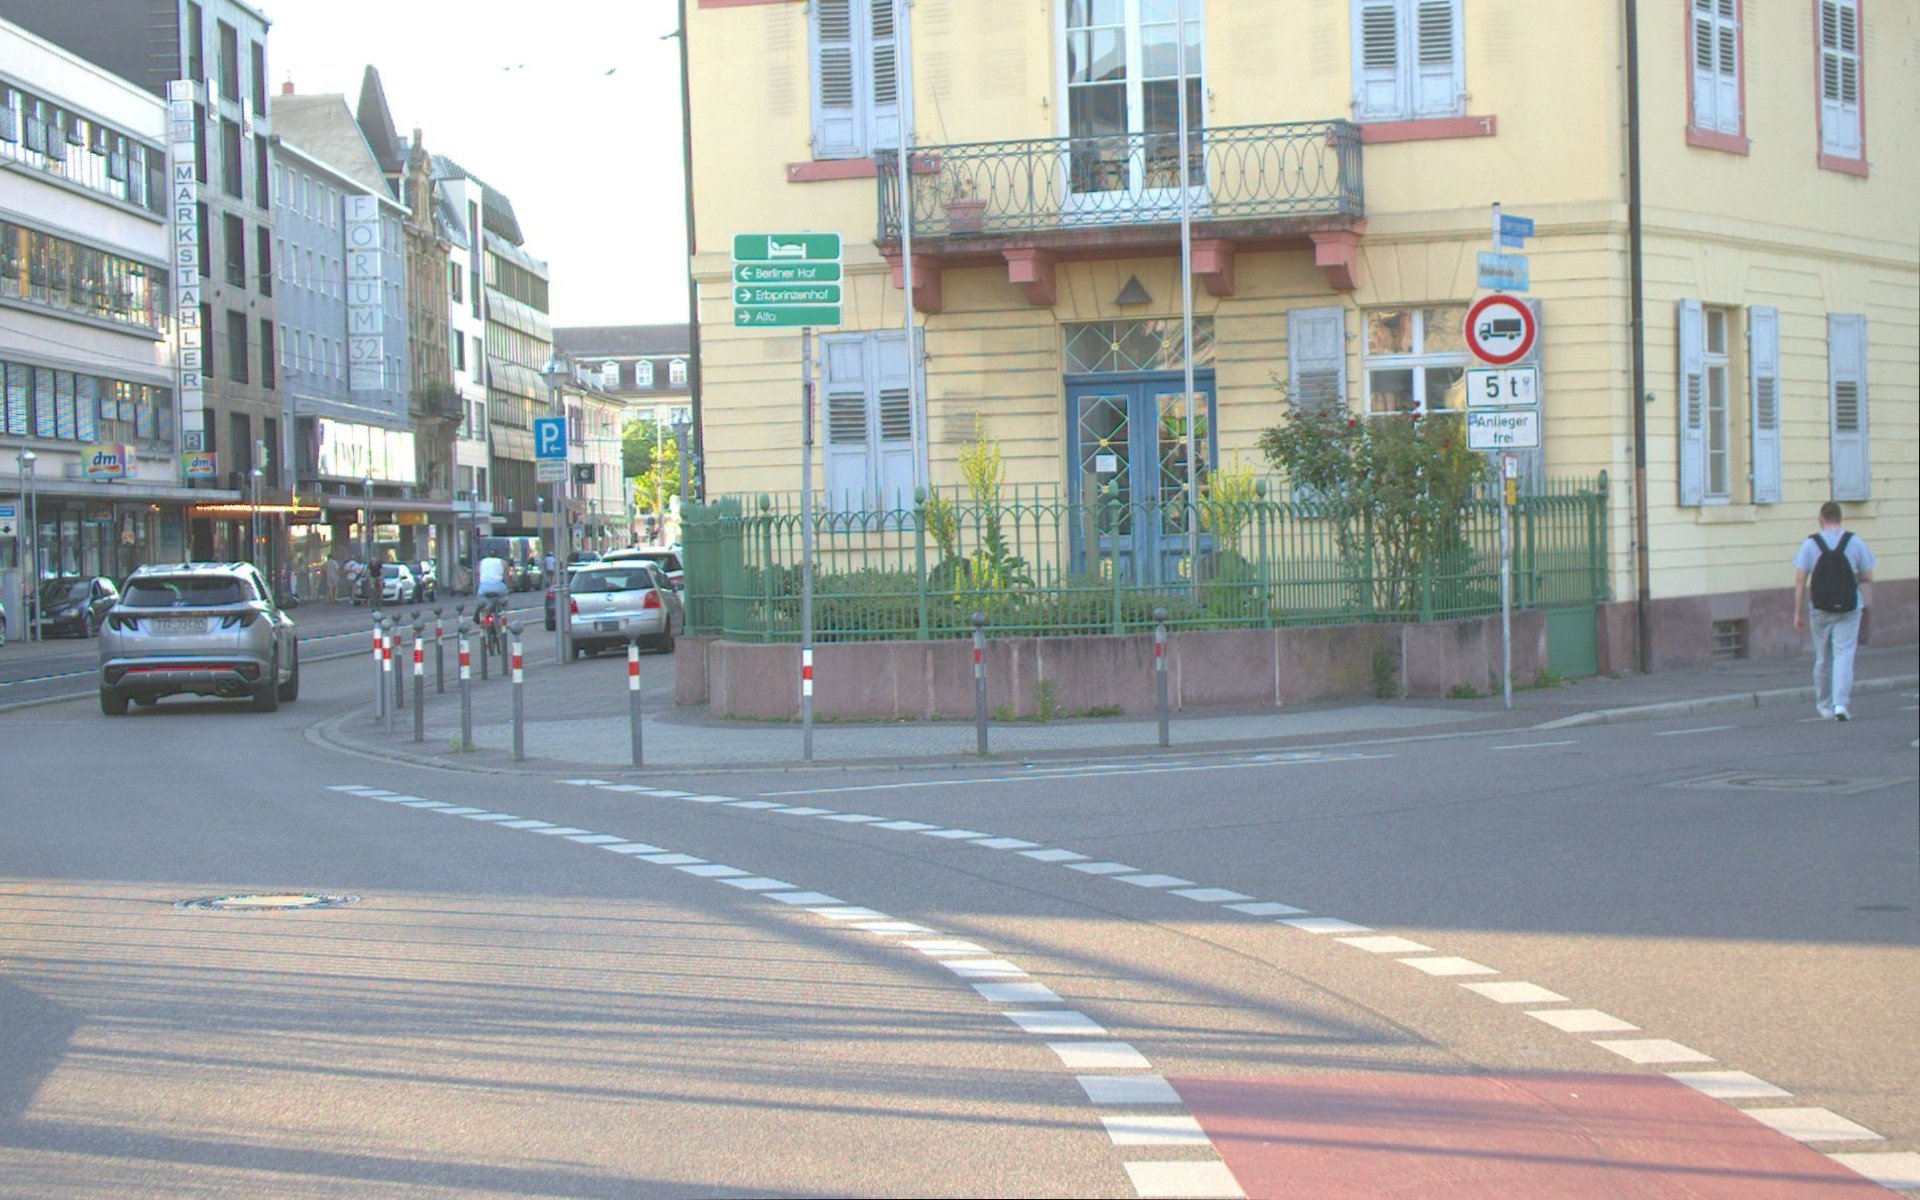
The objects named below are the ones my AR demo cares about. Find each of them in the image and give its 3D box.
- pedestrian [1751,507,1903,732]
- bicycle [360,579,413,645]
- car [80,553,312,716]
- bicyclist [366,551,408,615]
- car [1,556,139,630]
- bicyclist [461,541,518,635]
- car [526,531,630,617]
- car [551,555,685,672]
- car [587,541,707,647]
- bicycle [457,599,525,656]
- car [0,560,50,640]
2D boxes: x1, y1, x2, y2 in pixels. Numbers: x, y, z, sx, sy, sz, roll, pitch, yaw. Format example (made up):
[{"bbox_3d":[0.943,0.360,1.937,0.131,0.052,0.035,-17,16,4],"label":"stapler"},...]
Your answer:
[{"bbox_3d":[6.800,0.140,26.966,0.878,1.718,0.827,0,2,39],"label":"pedestrian"},{"bbox_3d":[-18.351,0.383,110.070,1.180,2.007,3.342,-1,1,-1],"label":"bicycle"},{"bbox_3d":[-8.519,0.333,38.690,1.943,1.655,4.537,-1,1,-5],"label":"car"},{"bbox_3d":[-18.388,-0.550,110.395,1.166,2.007,1.045,-1,1,-2],"label":"bicyclist"},{"bbox_3d":[-21.315,-0.187,82.463,1.994,1.660,4.000,-1,1,4],"label":"car"},{"bbox_3d":[-7.986,-0.215,58.398,0.829,1.563,0.787,-1,1,-1],"label":"bicyclist"},{"bbox_3d":[-8.437,-0.600,76.174,1.808,1.802,4.000,-1,1,0],"label":"car"},{"bbox_3d":[-5.278,0.183,53.387,1.732,1.702,3.439,-2,1,-1],"label":"car"},{"bbox_3d":[-5.322,-0.137,58.810,1.732,1.702,3.806,-1,1,-1],"label":"car"},{"bbox_3d":[-7.946,0.456,58.374,0.829,0.867,2.550,-1,1,-1],"label":"bicycle"},{"bbox_3d":[-21.151,0.012,73.641,1.994,1.660,4.000,-1,1,4],"label":"car"}]
